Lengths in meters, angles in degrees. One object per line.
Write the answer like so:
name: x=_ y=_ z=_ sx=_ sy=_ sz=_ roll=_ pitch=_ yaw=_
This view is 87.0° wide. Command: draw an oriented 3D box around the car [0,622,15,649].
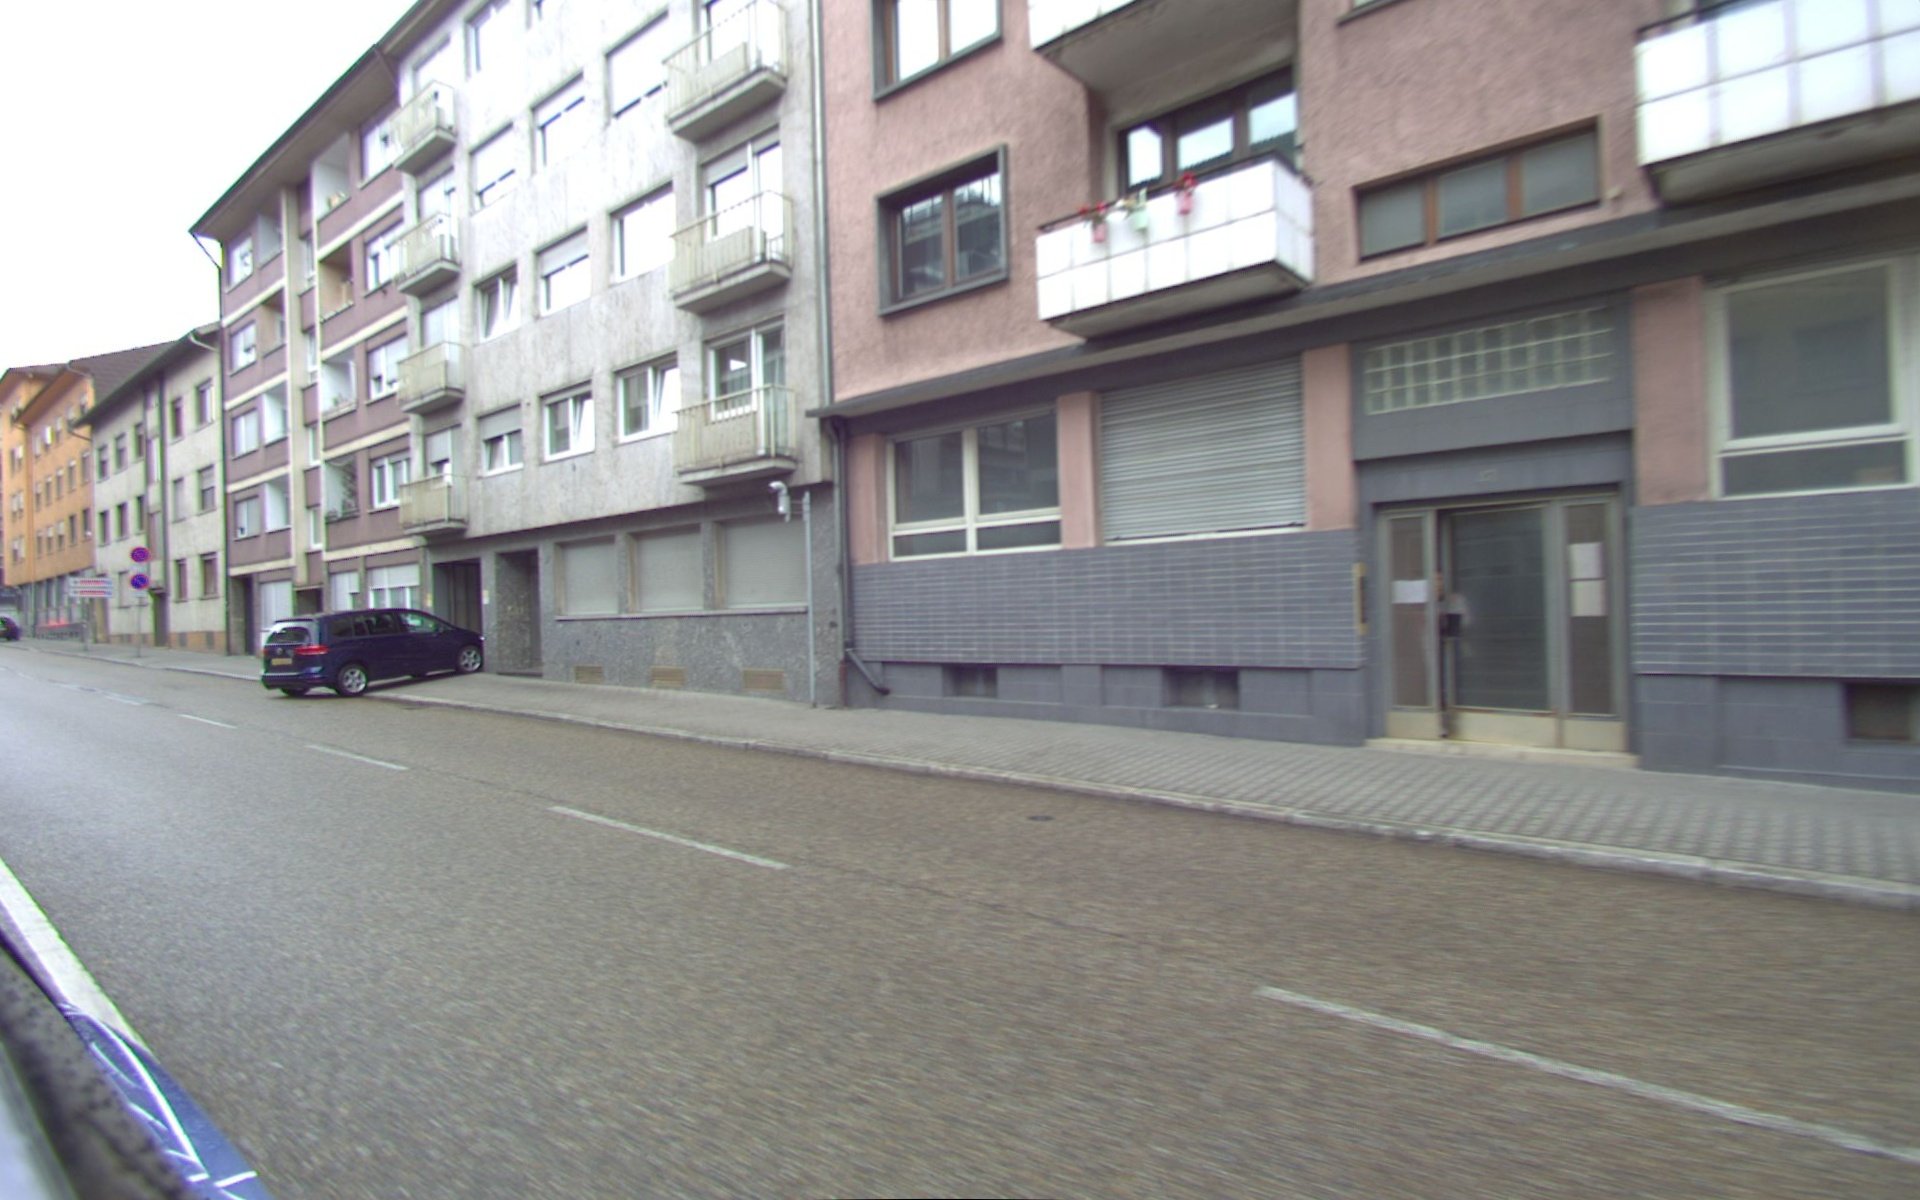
car: x=-55.601 y=2.026 z=57.871 sx=3.800 sy=1.466 sz=1.687 roll=-1 pitch=1 yaw=38

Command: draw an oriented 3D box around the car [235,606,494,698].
car: x=-11.985 y=0.980 z=20.718 sx=1.986 sy=1.587 sz=4.279 roll=-1 pitch=0 yaw=21
